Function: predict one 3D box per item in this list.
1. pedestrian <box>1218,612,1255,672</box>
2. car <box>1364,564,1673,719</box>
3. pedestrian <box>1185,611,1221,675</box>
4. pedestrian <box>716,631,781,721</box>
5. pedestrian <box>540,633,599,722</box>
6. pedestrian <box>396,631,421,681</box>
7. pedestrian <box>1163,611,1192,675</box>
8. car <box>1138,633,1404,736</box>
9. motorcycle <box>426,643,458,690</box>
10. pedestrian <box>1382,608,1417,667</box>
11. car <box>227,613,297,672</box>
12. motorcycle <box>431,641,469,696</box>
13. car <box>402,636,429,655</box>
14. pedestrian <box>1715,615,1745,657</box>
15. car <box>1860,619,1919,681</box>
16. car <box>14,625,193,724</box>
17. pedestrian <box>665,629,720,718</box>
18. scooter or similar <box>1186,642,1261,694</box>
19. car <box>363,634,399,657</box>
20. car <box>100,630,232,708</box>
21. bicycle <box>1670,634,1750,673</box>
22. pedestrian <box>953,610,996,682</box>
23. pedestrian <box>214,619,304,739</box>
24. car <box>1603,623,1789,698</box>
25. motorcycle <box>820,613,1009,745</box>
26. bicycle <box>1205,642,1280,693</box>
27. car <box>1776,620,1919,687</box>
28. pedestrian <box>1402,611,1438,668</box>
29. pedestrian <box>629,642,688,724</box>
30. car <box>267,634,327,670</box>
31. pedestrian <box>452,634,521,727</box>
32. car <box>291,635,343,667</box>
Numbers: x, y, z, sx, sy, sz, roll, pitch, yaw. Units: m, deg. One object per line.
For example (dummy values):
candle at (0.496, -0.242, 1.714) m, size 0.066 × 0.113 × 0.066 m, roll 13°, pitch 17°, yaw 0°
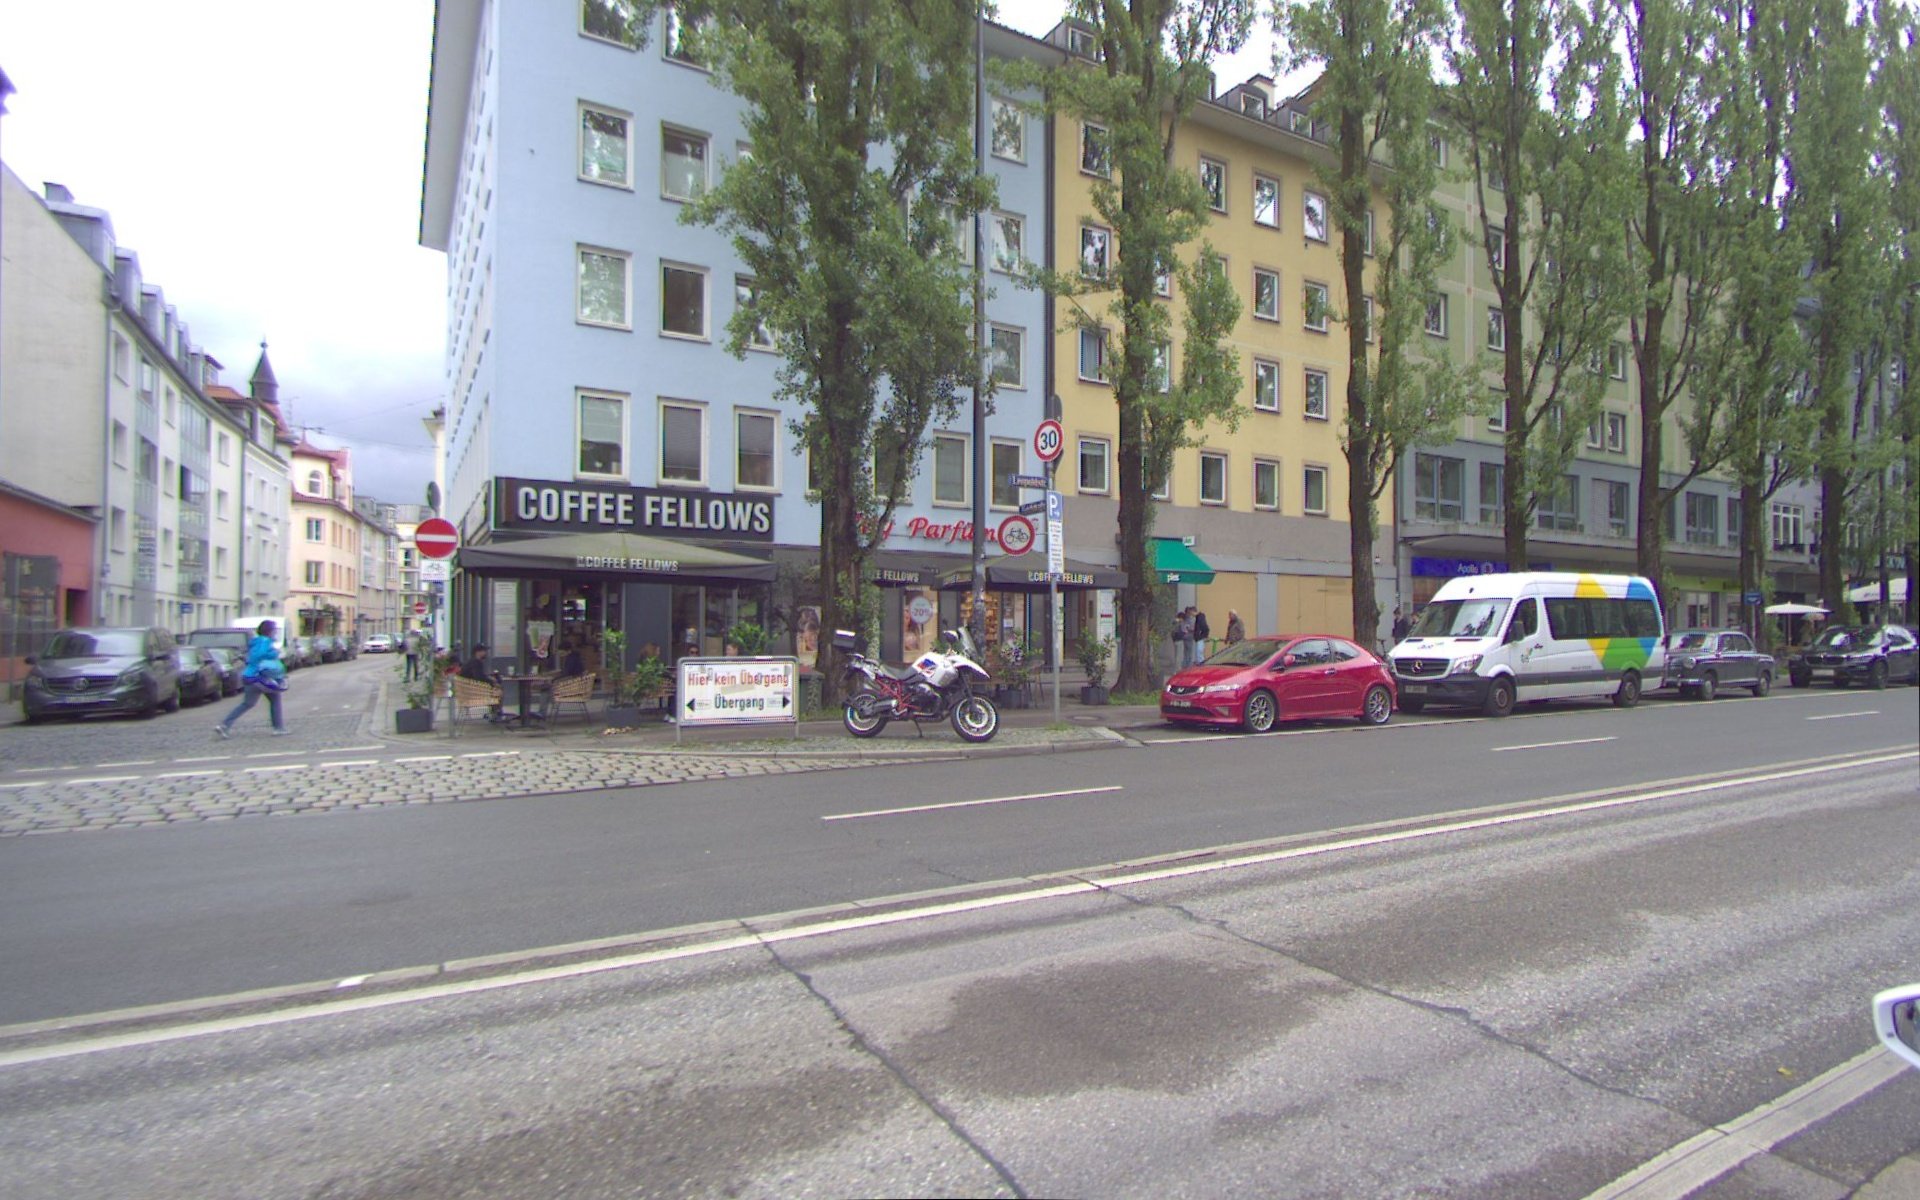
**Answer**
pedestrian at (7.797, 1.187, 28.327) m, size 0.718 × 1.657 × 0.695 m, roll 1°, pitch -1°, yaw -28°
car at (10.918, 0.783, 19.399) m, size 6.831 × 2.601 × 1.996 m, roll 1°, pitch -3°, yaw -31°
pedestrian at (6.353, 1.114, 26.297) m, size 0.713 × 1.657 × 0.699 m, roll 0°, pitch -1°, yaw -6°
pedestrian at (-3.354, 1.181, 15.913) m, size 0.838 × 1.380 × 0.694 m, roll 1°, pitch -2°, yaw -31°
pedestrian at (-6.231, 1.211, 16.032) m, size 0.808 × 1.380 × 0.695 m, roll 1°, pitch -2°, yaw -27°
pedestrian at (-18.767, 1.905, 34.182) m, size 0.692 × 1.668 × 0.859 m, roll 1°, pitch -2°, yaw -34°
pedestrian at (5.739, 1.130, 26.472) m, size 0.553 × 1.657 × 0.699 m, roll 0°, pitch -1°, yaw -6°
car at (4.973, 1.259, 15.944) m, size 4.099 × 1.438 × 1.729 m, roll 1°, pitch -3°, yaw -30°
motorcycle at (-14.551, 1.828, 28.163) m, size 0.729 × 1.219 × 2.748 m, roll -1°, pitch -1°, yaw -28°
pedestrian at (13.814, 1.166, 31.567) m, size 0.717 × 1.818 × 0.695 m, roll 1°, pitch -1°, yaw -25°
car at (-29.939, 1.822, 43.198) m, size 1.959 × 2.396 × 4.554 m, roll 1°, pitch -3°, yaw -29°
motorcycle at (-12.328, 1.614, 24.254) m, size 0.729 × 1.219 × 2.748 m, roll -1°, pitch -1°, yaw -28°
car at (-53.183, 4.418, 98.175) m, size 1.955 × 1.789 × 4.562 m, roll 0°, pitch -3°, yaw -23°
pedestrian at (31.794, 1.483, 41.481) m, size 0.667 × 1.708 × 0.753 m, roll 2°, pitch -2°, yaw -29°
car at (28.602, 1.474, 29.900) m, size 3.880 × 1.743 × 1.700 m, roll 1°, pitch -3°, yaw -33°
car at (-17.330, 1.455, 20.583) m, size 1.960 × 1.789 × 4.551 m, roll 1°, pitch -3°, yaw -30°
pedestrian at (-4.316, 1.166, 16.202) m, size 0.692 × 1.380 × 0.709 m, roll 1°, pitch -2°, yaw -32°
scooter or similar at (5.670, 1.448, 21.730) m, size 0.416 × 1.040 × 1.764 m, roll 1°, pitch -2°, yaw -32°
car at (-45.895, 3.622, 79.660) m, size 1.956 × 1.789 × 4.561 m, roll 0°, pitch -3°, yaw -24°
car at (-20.169, 1.711, 25.718) m, size 1.960 × 1.789 × 4.551 m, roll 1°, pitch -3°, yaw -30°
bicycle at (24.258, 1.718, 32.530) m, size 0.712 × 1.110 × 1.932 m, roll 0°, pitch 1°, yaw -36°
pedestrian at (0.343, 1.092, 24.062) m, size 0.775 × 1.708 × 0.753 m, roll 1°, pitch -1°, yaw -27°
pedestrian at (-10.142, 1.111, 14.539) m, size 0.690 × 1.668 × 0.944 m, roll -1°, pitch -2°, yaw 44°
car at (16.910, 1.353, 23.045) m, size 4.362 × 1.572 × 1.858 m, roll 1°, pitch -3°, yaw -30°
motorcycle at (-0.587, 0.970, 12.917) m, size 2.301 × 1.584 × 0.715 m, roll 0°, pitch 0°, yaw 18°
bicycle at (6.186, 1.463, 22.098) m, size 0.416 × 1.040 × 1.764 m, roll 1°, pitch -2°, yaw -32°
car at (24.189, 1.417, 27.105) m, size 4.557 × 1.686 × 1.858 m, roll 1°, pitch -3°, yaw -30°
pedestrian at (14.122, 1.204, 30.834) m, size 0.717 × 1.722 × 0.695 m, roll 1°, pitch -1°, yaw -25°
pedestrian at (-4.636, 1.257, 15.438) m, size 0.692 × 1.198 × 0.811 m, roll 1°, pitch -2°, yaw -31°
car at (-34.489, 2.690, 52.356) m, size 1.957 × 1.789 × 4.559 m, roll 1°, pitch -3°, yaw -25°
pedestrian at (-7.332, 1.219, 15.556) m, size 0.938 × 1.380 × 0.695 m, roll 1°, pitch -2°, yaw -27°
car at (-37.222, 2.937, 58.259) m, size 1.957 × 1.789 × 4.559 m, roll 1°, pitch -3°, yaw -26°
